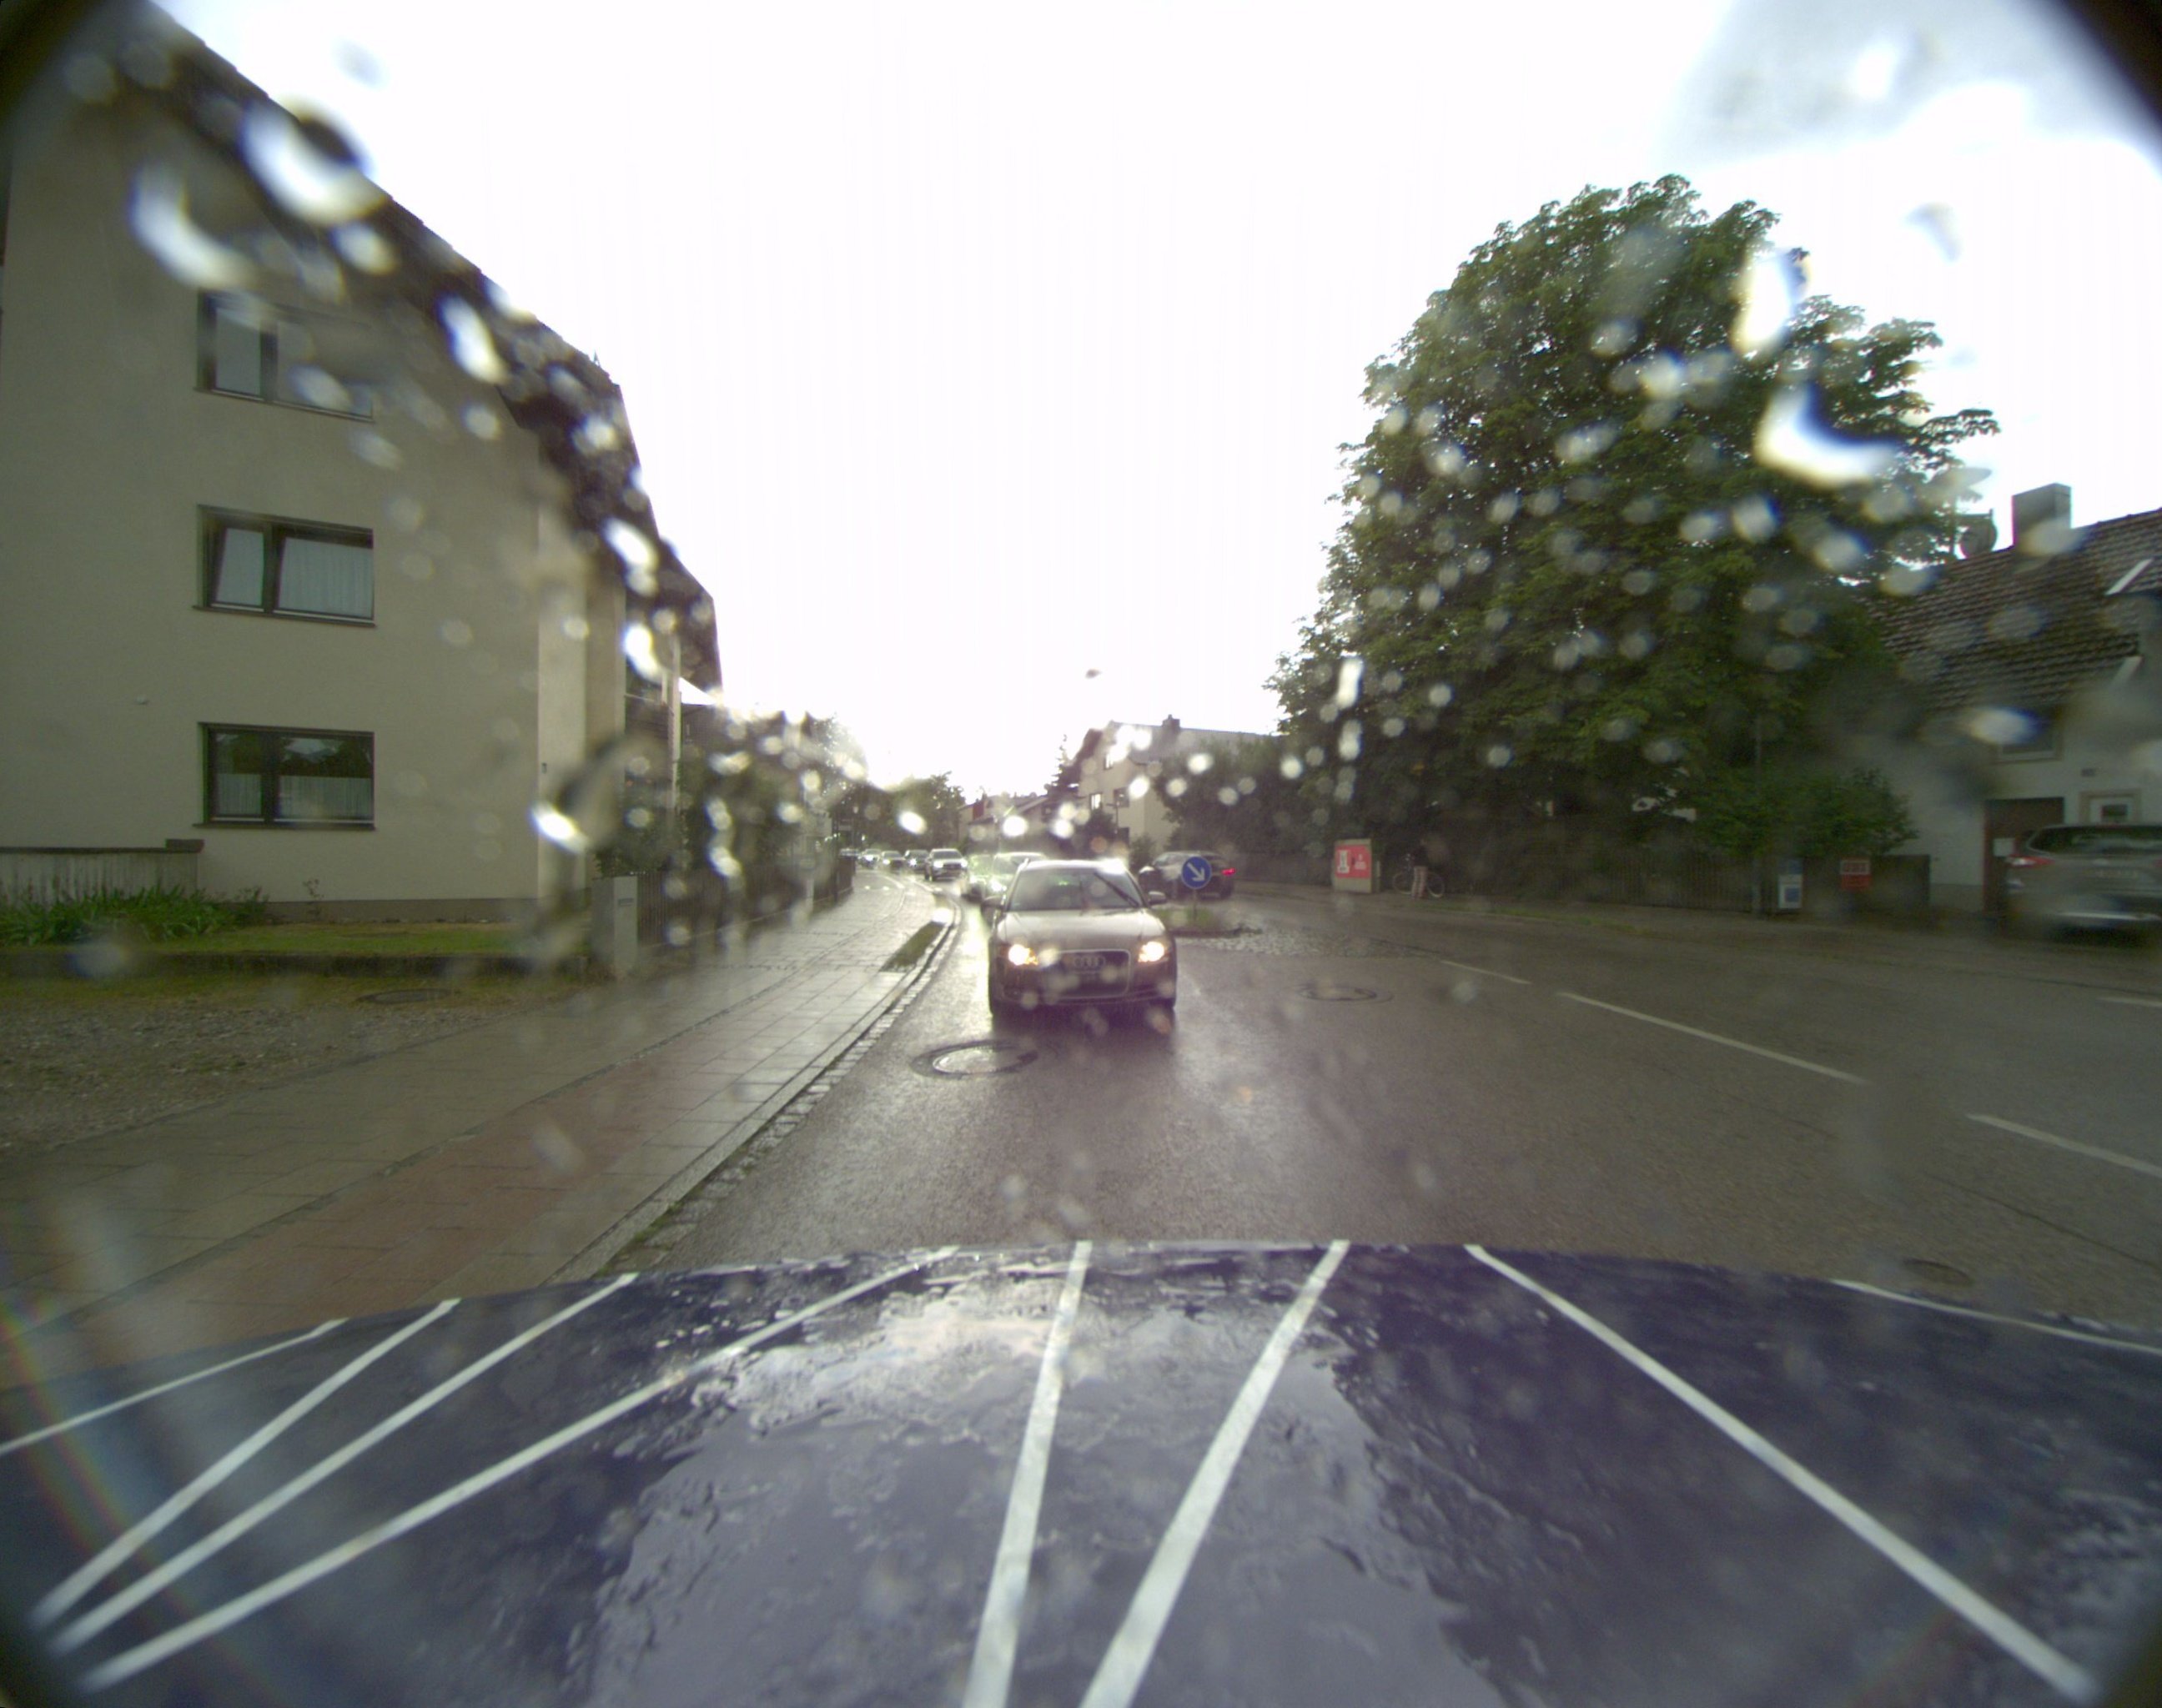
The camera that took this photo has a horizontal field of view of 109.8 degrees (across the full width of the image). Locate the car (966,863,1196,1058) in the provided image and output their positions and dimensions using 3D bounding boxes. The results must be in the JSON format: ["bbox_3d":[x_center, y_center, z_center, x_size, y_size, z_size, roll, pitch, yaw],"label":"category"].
[{"bbox_3d":[-0.119,0.867,8.199,1.794,1.387,4.279,-2,1,-4],"label":"car"}]

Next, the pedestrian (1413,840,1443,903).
[{"bbox_3d":[8.979,0.443,19.669,0.652,1.619,0.480,0,1,28],"label":"pedestrian"}]

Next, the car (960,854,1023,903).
[{"bbox_3d":[-3.066,0.734,25.282,1.795,1.387,4.277,-2,1,-10],"label":"car"}]

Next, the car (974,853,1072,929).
[{"bbox_3d":[-1.559,0.757,18.409,1.795,1.470,5.380,-2,1,-10],"label":"car"}]

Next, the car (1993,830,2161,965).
[{"bbox_3d":[14.013,0.529,10.061,4.289,1.539,1.813,1,0,-31],"label":"car"}]

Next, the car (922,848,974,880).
[{"bbox_3d":[-7.018,0.500,39.755,1.797,1.539,4.273,-2,1,-21],"label":"car"}]

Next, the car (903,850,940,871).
[{"bbox_3d":[-11.196,0.418,53.213,1.797,1.365,4.273,-2,1,-21],"label":"car"}]

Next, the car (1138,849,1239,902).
[{"bbox_3d":[3.244,0.603,23.767,1.818,1.482,4.054,-1,0,-12],"label":"car"}]

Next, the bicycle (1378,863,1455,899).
[{"bbox_3d":[9.112,0.703,20.722,0.665,0.897,1.869,-2,1,-33],"label":"bicycle"}]

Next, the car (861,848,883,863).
[{"bbox_3d":[-23.057,0.147,83.680,1.797,1.539,4.273,-2,1,-21],"label":"car"}]

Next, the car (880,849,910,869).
[{"bbox_3d":[-15.417,0.411,62.848,1.797,1.539,4.273,-2,1,-21],"label":"car"}]

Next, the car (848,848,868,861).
[{"bbox_3d":[-27.912,0.088,95.046,1.797,1.539,4.272,-3,1,-25],"label":"car"}]

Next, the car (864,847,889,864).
[{"bbox_3d":[-19.966,0.102,74.039,1.797,1.539,4.273,-2,1,-21],"label":"car"}]
